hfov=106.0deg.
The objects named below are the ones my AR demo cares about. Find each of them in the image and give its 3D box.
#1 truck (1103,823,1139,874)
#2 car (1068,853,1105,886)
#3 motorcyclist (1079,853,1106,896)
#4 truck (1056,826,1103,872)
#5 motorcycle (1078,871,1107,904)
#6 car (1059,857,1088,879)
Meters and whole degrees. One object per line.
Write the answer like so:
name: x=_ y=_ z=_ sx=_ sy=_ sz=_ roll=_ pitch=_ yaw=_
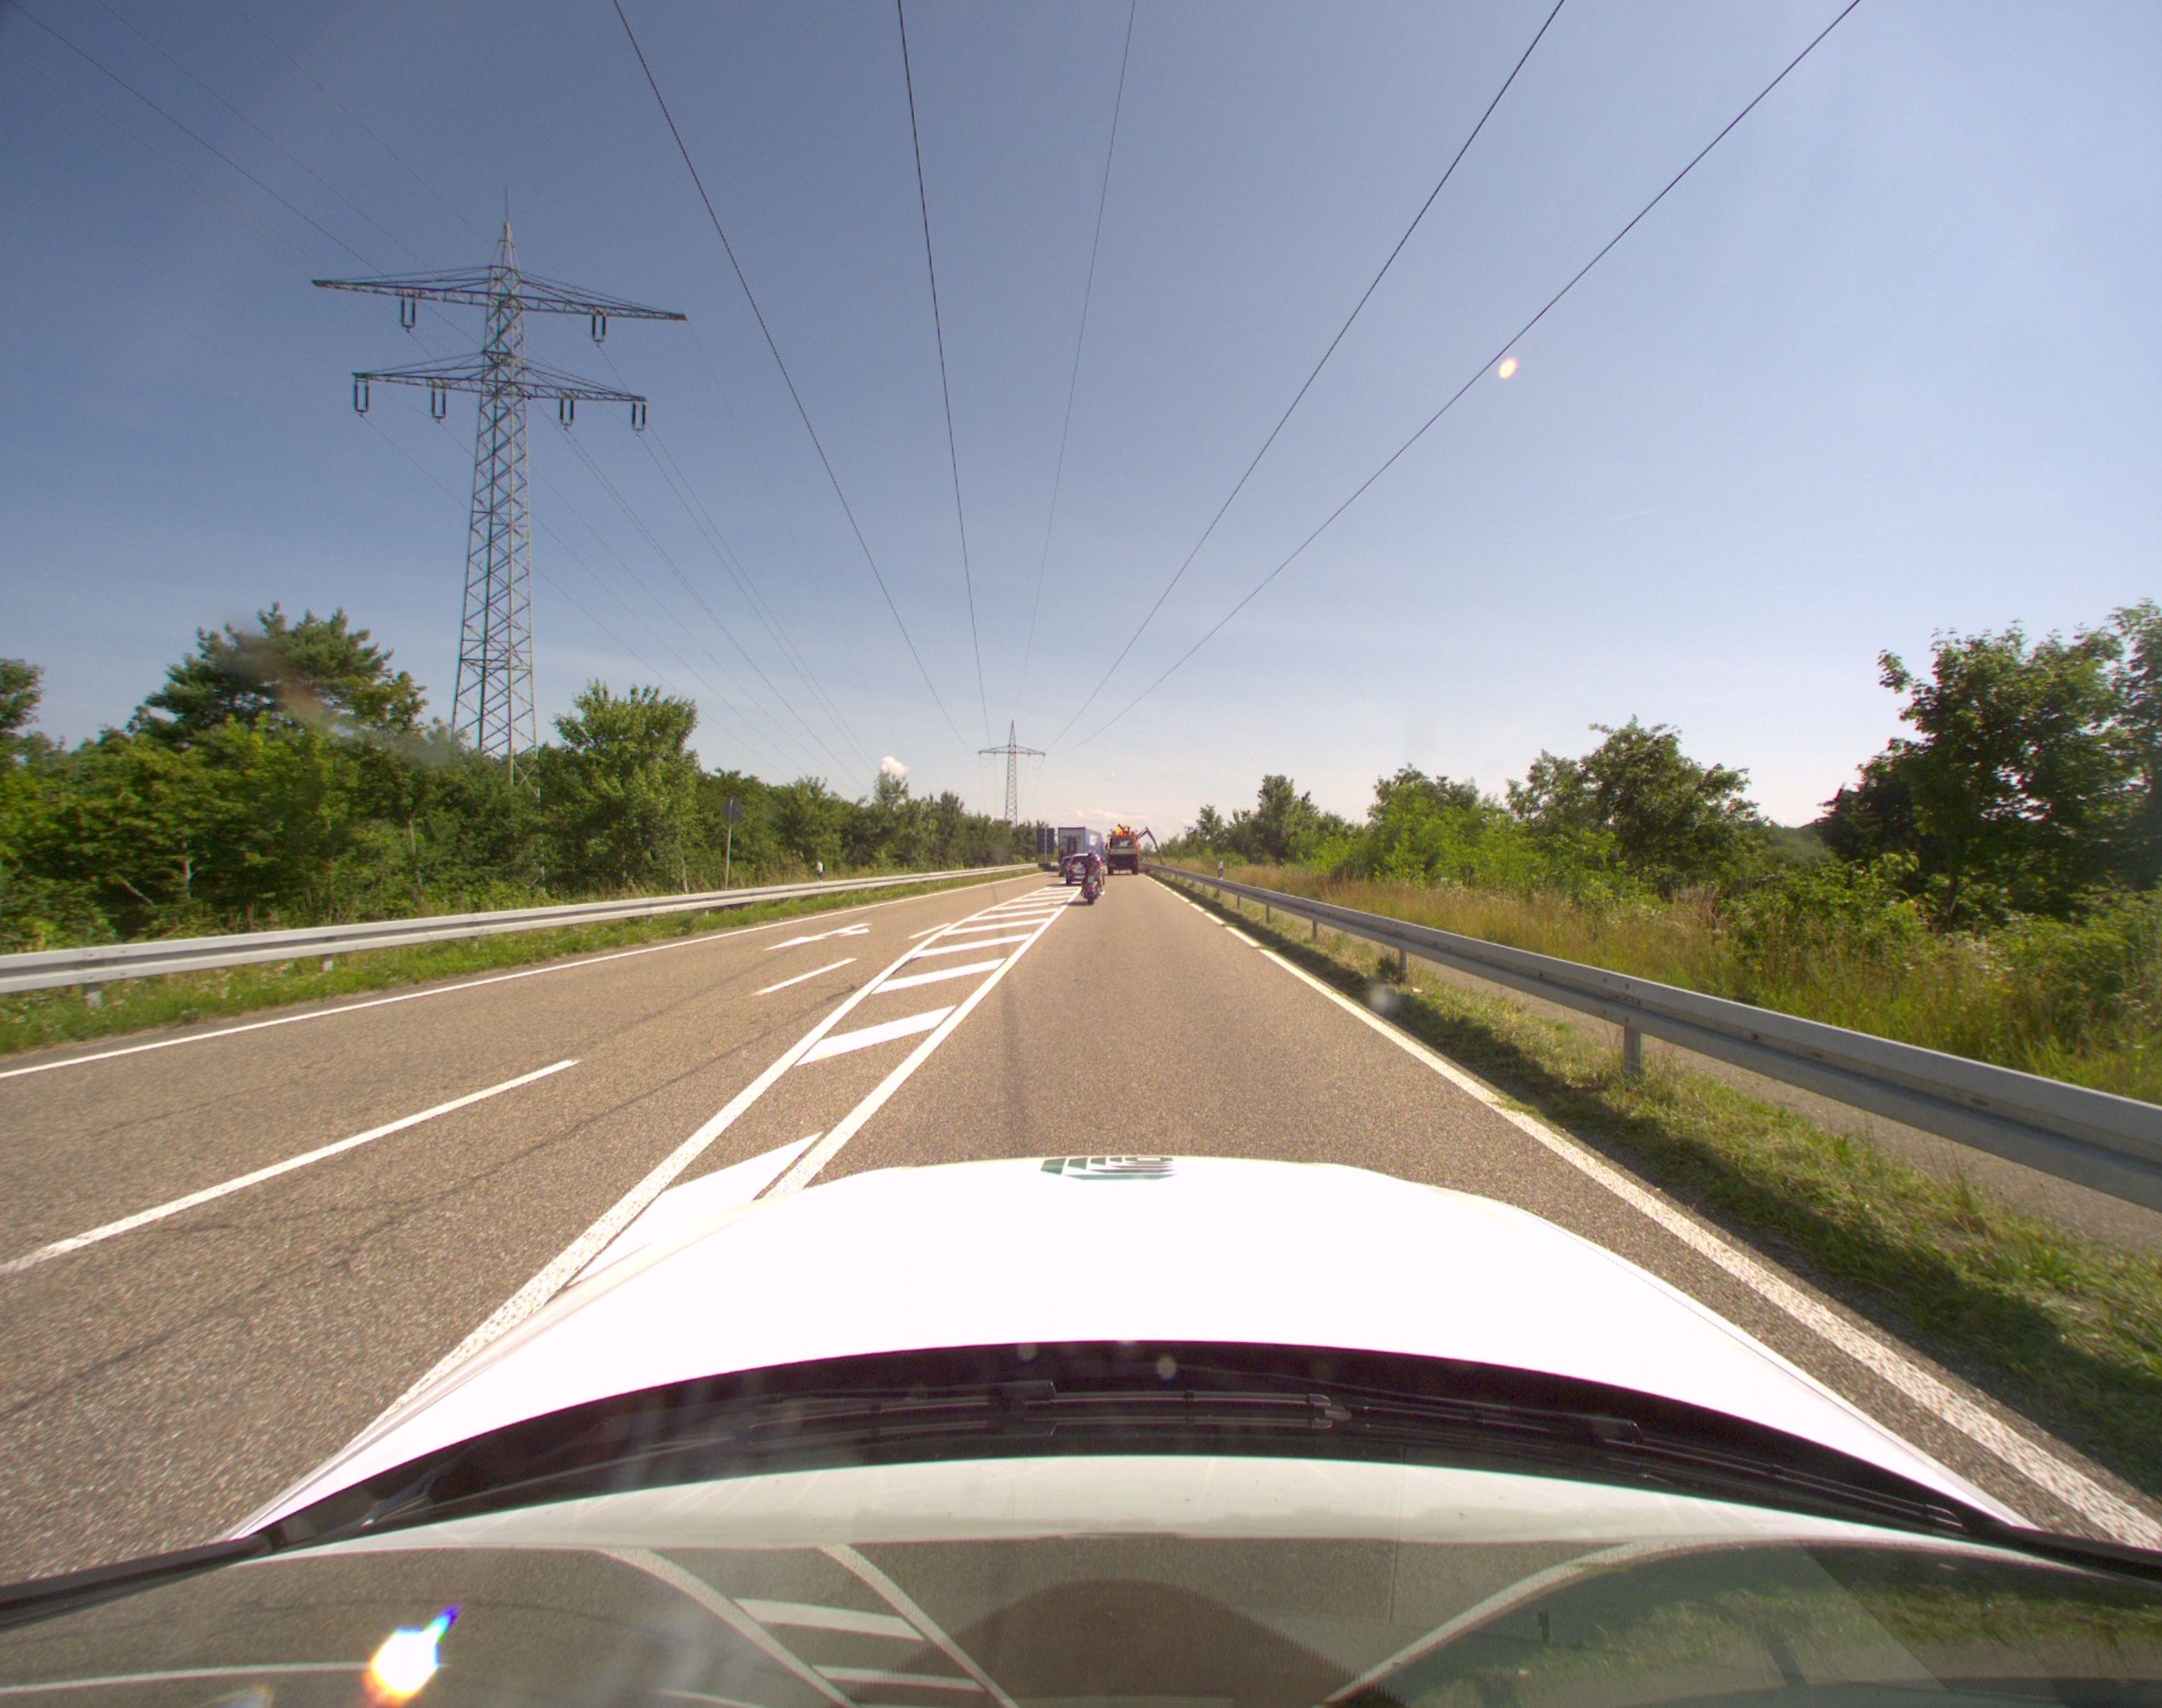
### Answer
truck: x=3.109 y=-0.403 z=62.165 sx=2.602 sy=3.711 sz=6.784 roll=0 pitch=0 yaw=4
car: x=0.231 y=0.742 z=40.205 sx=1.696 sy=1.536 sz=3.497 roll=0 pitch=0 yaw=-1
motorcyclist: x=0.359 y=0.625 z=25.290 sx=0.834 sy=1.280 sz=0.919 roll=0 pitch=0 yaw=0
truck: x=0.057 y=-0.437 z=81.037 sx=2.952 sy=4.187 sz=14.849 roll=0 pitch=0 yaw=7
motorcycle: x=0.353 y=1.017 z=25.123 sx=0.856 sy=0.915 sz=2.228 roll=-1 pitch=0 yaw=1
car: x=-0.494 y=0.979 z=57.635 sx=1.848 sy=1.489 sz=3.742 roll=0 pitch=0 yaw=2
